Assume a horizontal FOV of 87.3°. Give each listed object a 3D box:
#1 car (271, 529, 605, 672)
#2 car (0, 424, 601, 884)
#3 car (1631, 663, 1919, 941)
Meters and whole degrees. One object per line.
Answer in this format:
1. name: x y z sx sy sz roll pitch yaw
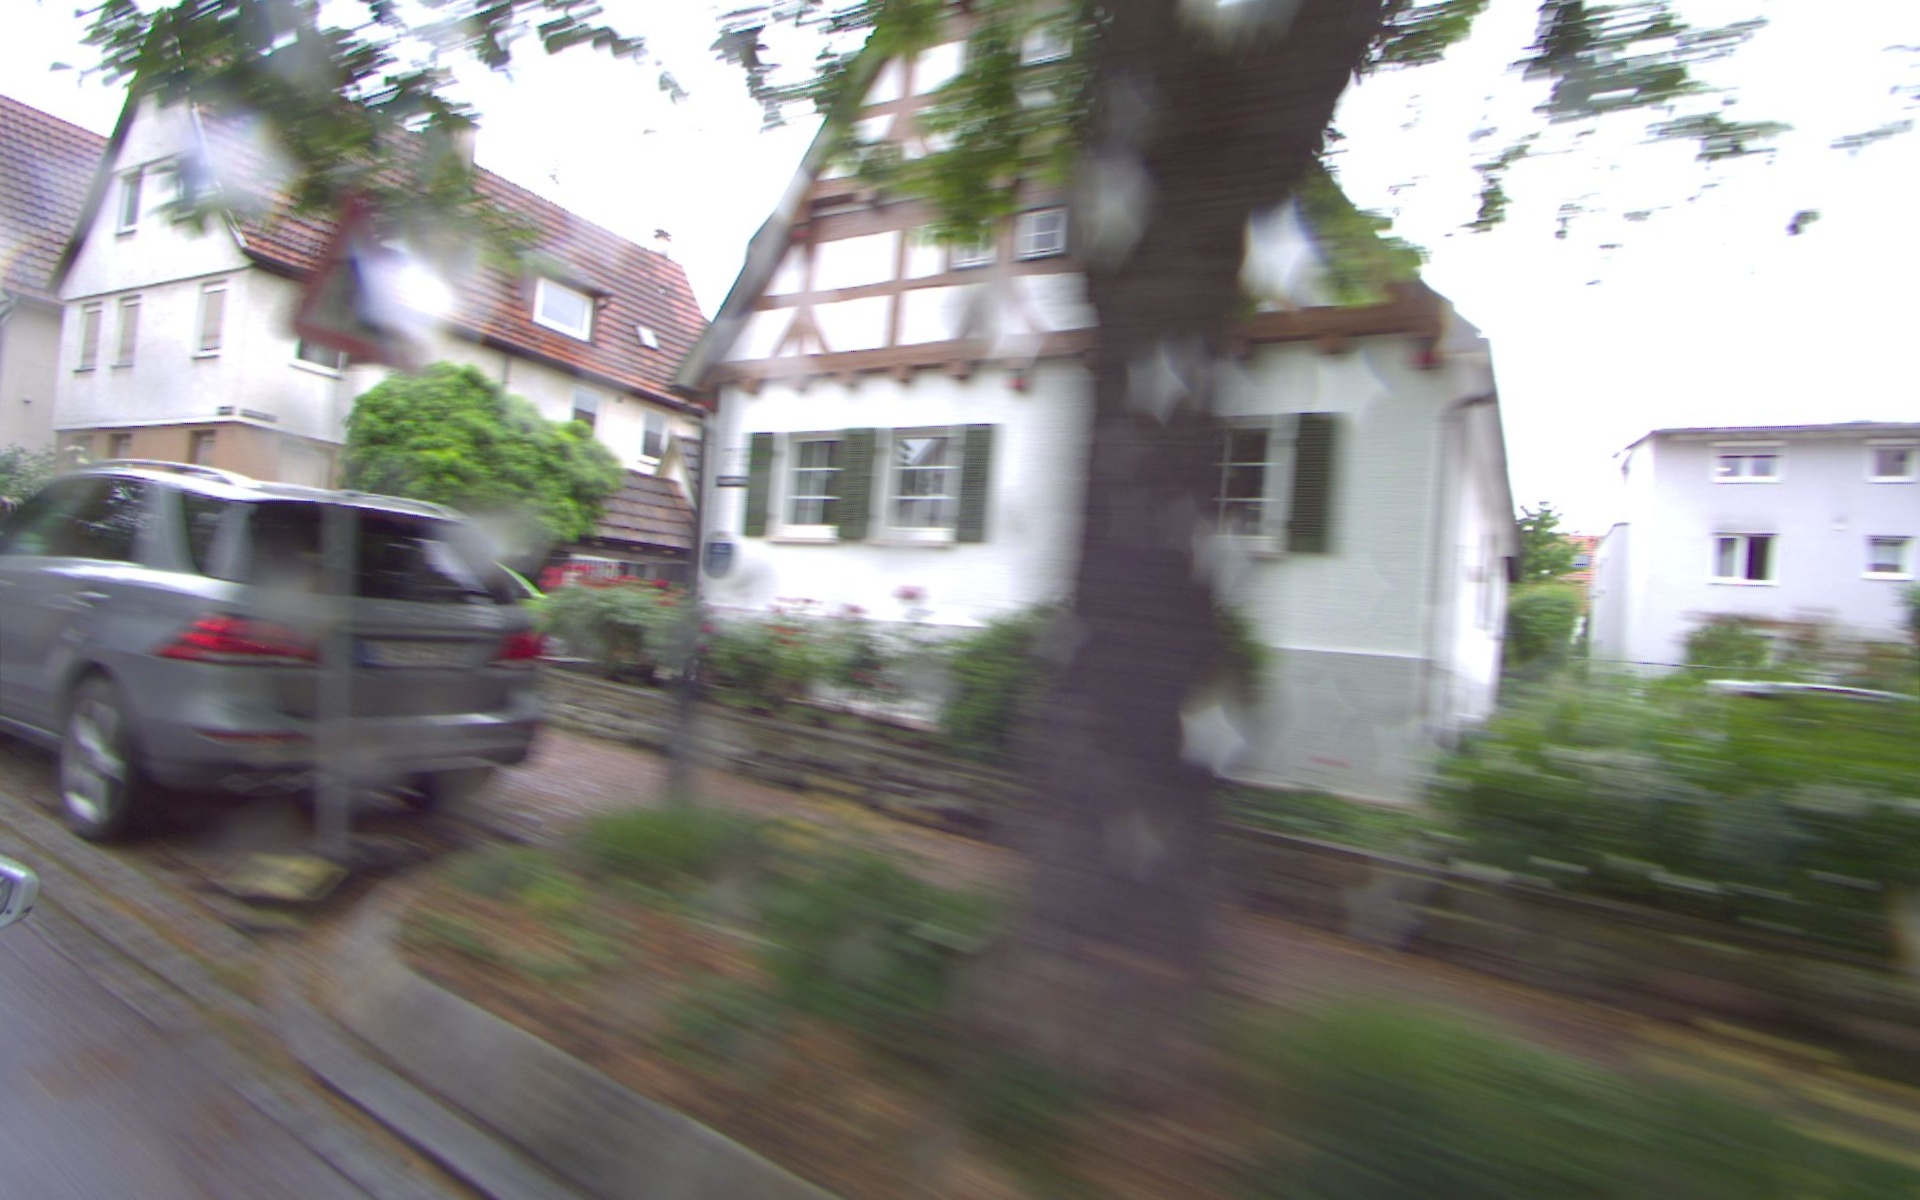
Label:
1. car: -6.488 0.086 12.852 1.602 1.448 3.371 7 0 28
2. car: -4.488 0.102 5.936 4.413 1.813 1.919 7 -2 31
3. car: 7.983 1.919 9.761 1.966 1.918 4.479 6 -6 30
